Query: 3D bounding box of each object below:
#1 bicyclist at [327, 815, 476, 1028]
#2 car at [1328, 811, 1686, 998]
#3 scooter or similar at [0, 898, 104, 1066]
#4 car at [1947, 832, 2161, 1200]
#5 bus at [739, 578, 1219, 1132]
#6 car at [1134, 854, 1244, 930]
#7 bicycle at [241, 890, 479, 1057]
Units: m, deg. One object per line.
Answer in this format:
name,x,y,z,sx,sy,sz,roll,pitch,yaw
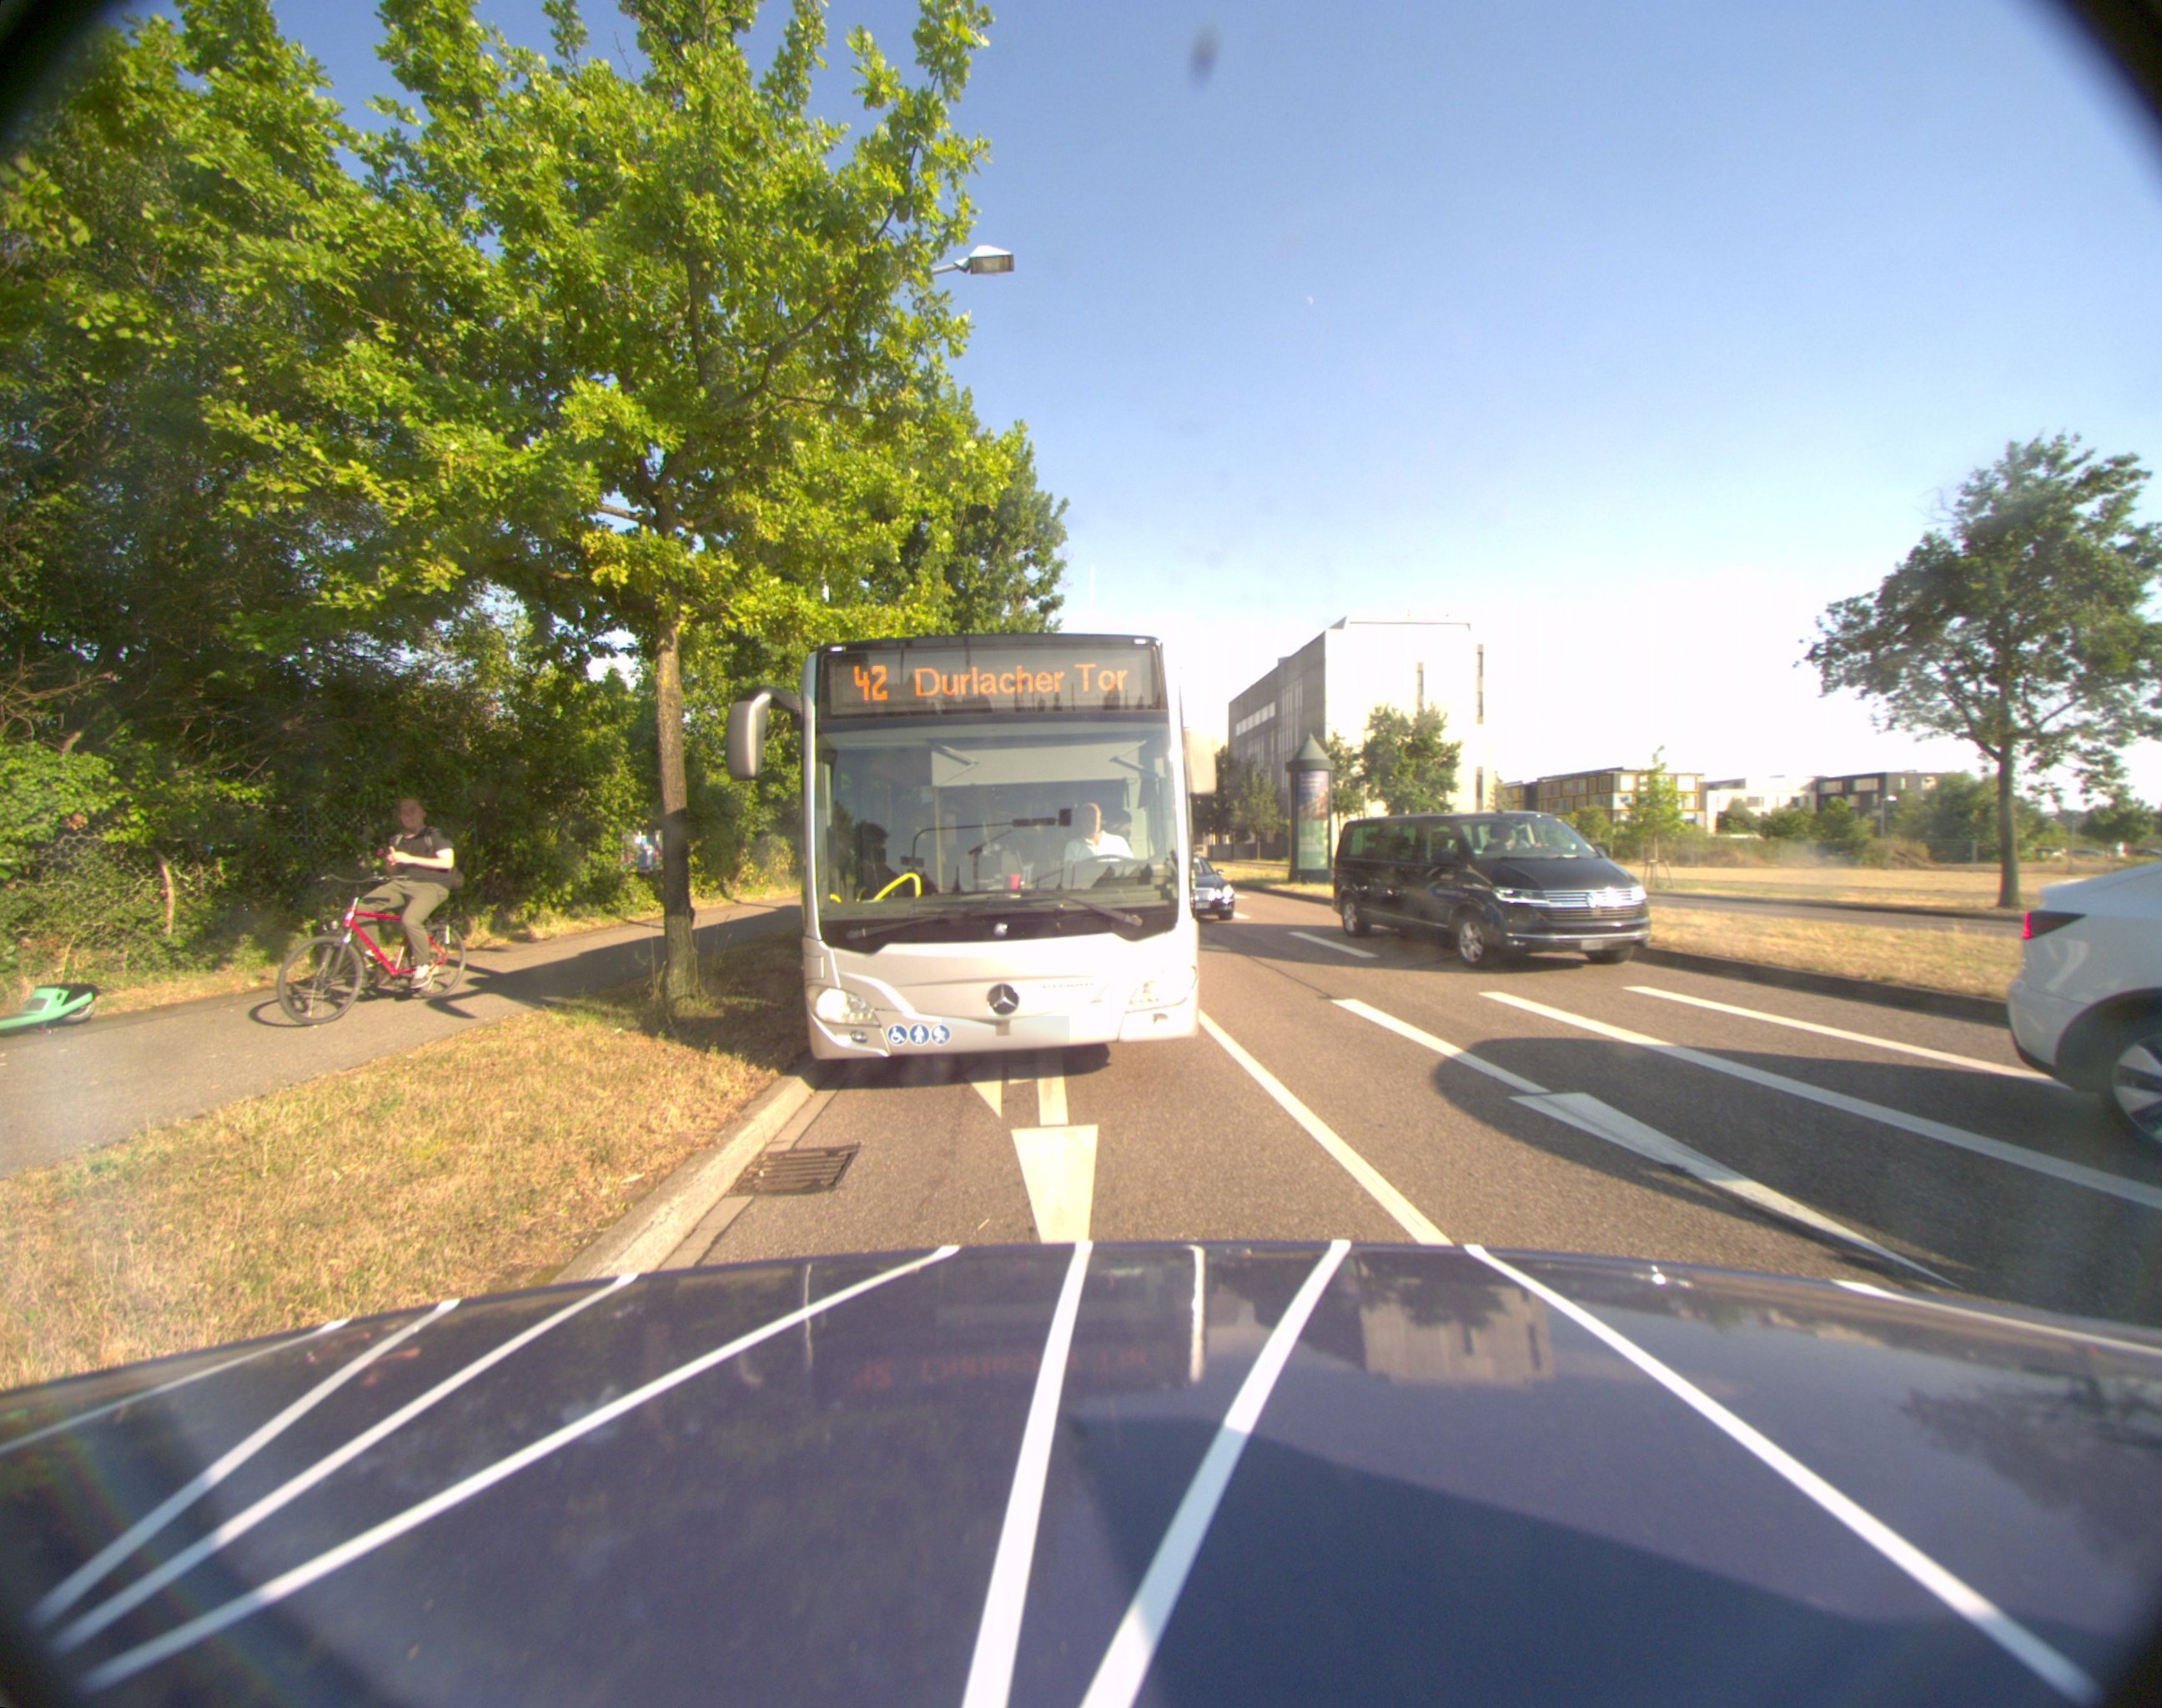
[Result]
bicyclist,-6.167,0.581,6.939,0.620,1.819,0.830,1,1,-2
car,5.366,0.503,10.580,1.861,1.921,5.010,-2,1,-4
scooter or similar,-7.551,0.898,5.216,0.249,1.120,1.095,2,1,1
car,5.655,0.693,1.789,1.740,1.590,4.675,-2,0,-4
bus,-1.031,-0.038,10.097,2.596,3.025,11.713,-1,0,-5
car,2.261,0.746,17.056,1.810,1.428,4.493,-1,0,0
bicycle,-6.072,0.924,6.558,0.416,1.151,1.890,0,0,-5
